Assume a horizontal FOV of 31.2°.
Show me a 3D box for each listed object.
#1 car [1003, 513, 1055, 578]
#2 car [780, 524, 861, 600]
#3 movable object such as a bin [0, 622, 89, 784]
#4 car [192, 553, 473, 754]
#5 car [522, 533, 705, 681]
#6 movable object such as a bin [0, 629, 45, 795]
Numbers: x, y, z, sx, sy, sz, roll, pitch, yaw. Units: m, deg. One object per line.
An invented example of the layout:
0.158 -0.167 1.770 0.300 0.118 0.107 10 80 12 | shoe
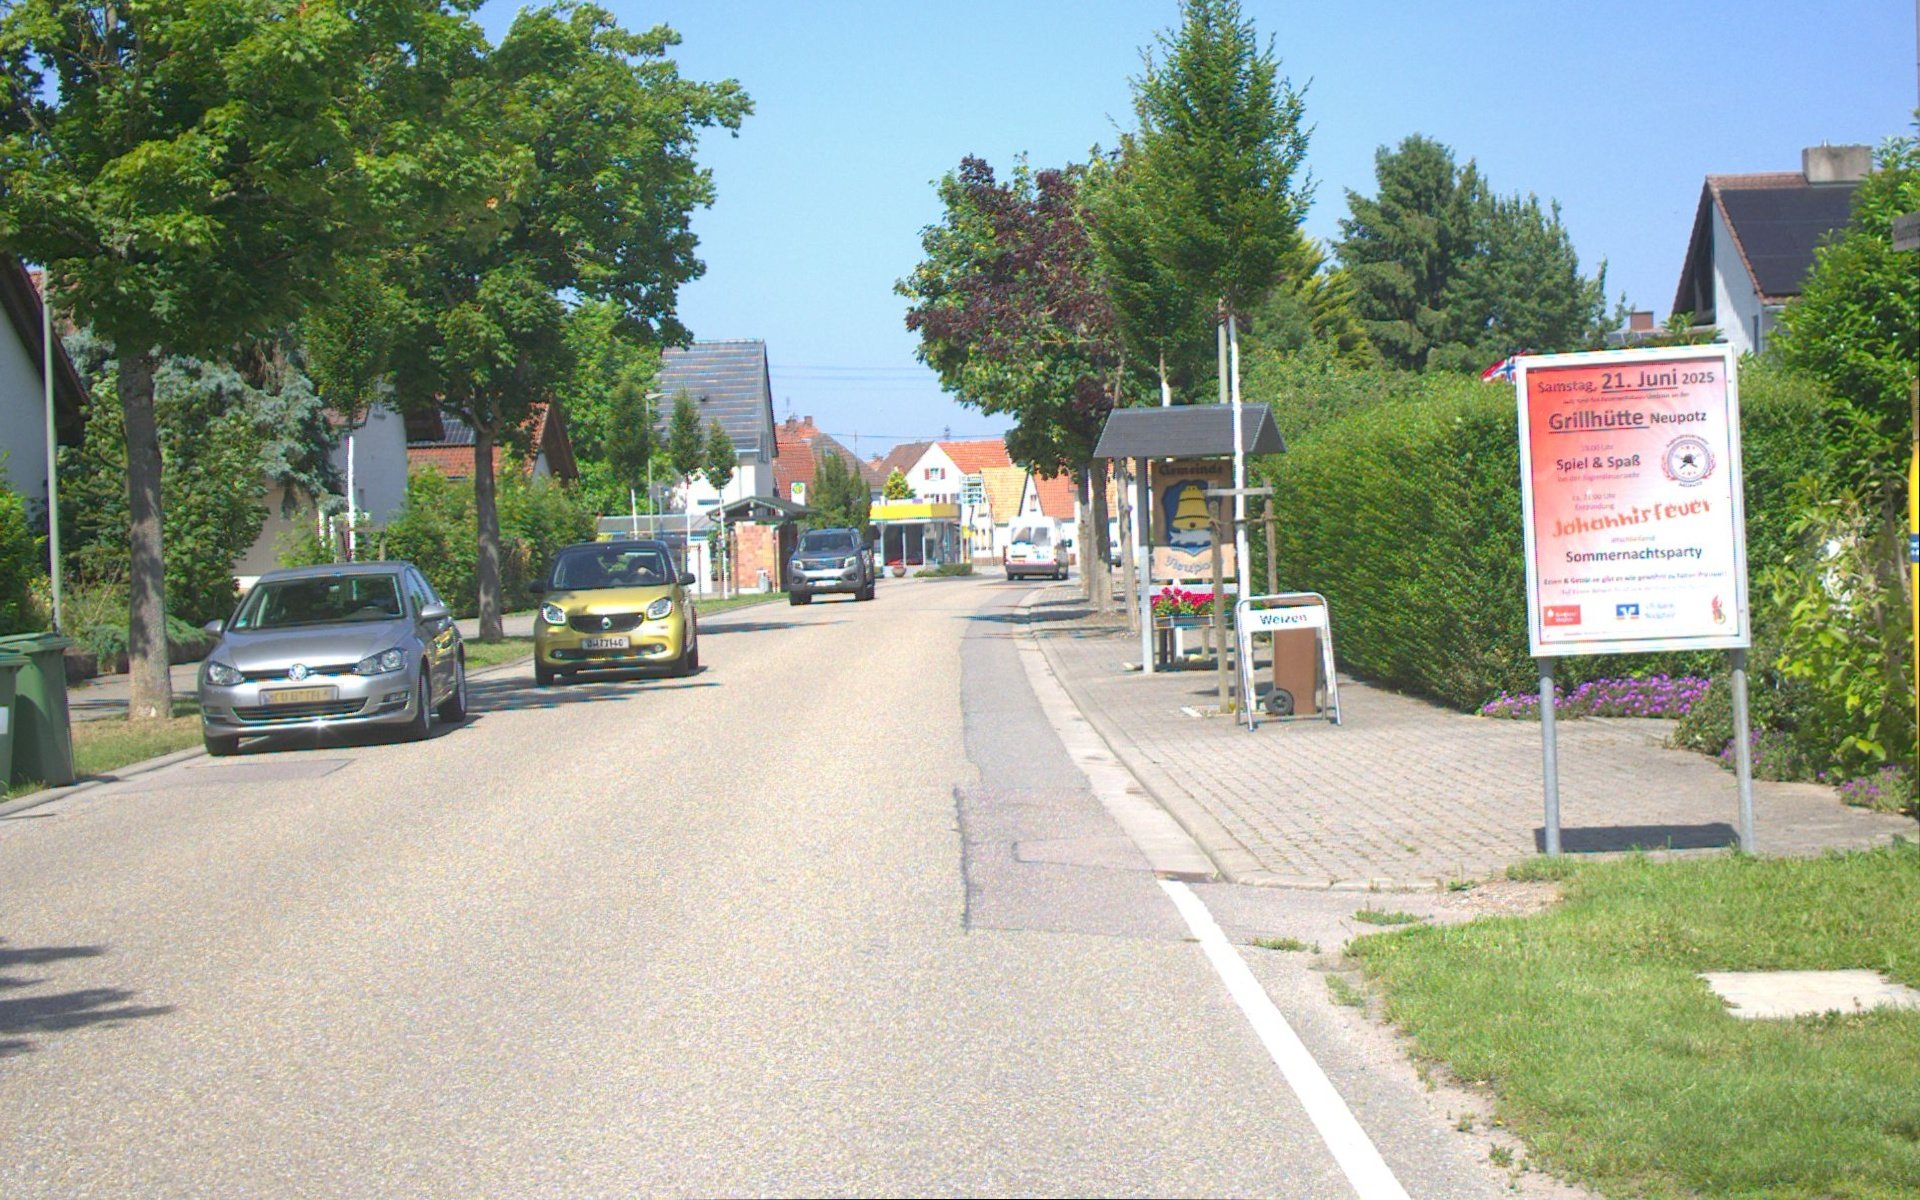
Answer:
2.688 -2.118 133.375 1.738 2.424 4.374 -2 1 4 | car
-3.380 -0.946 83.310 1.835 1.747 3.796 -2 1 -2 | car
-6.425 0.708 23.681 0.575 1.075 0.598 -2 1 13 | movable object such as a bin
-5.120 0.380 28.521 1.647 1.419 4.081 -4 1 -2 | car
-3.870 0.046 38.863 1.666 1.519 3.443 -3 1 0 | car
-6.623 0.752 22.963 0.714 1.075 0.639 -1 1 25 | movable object such as a bin
